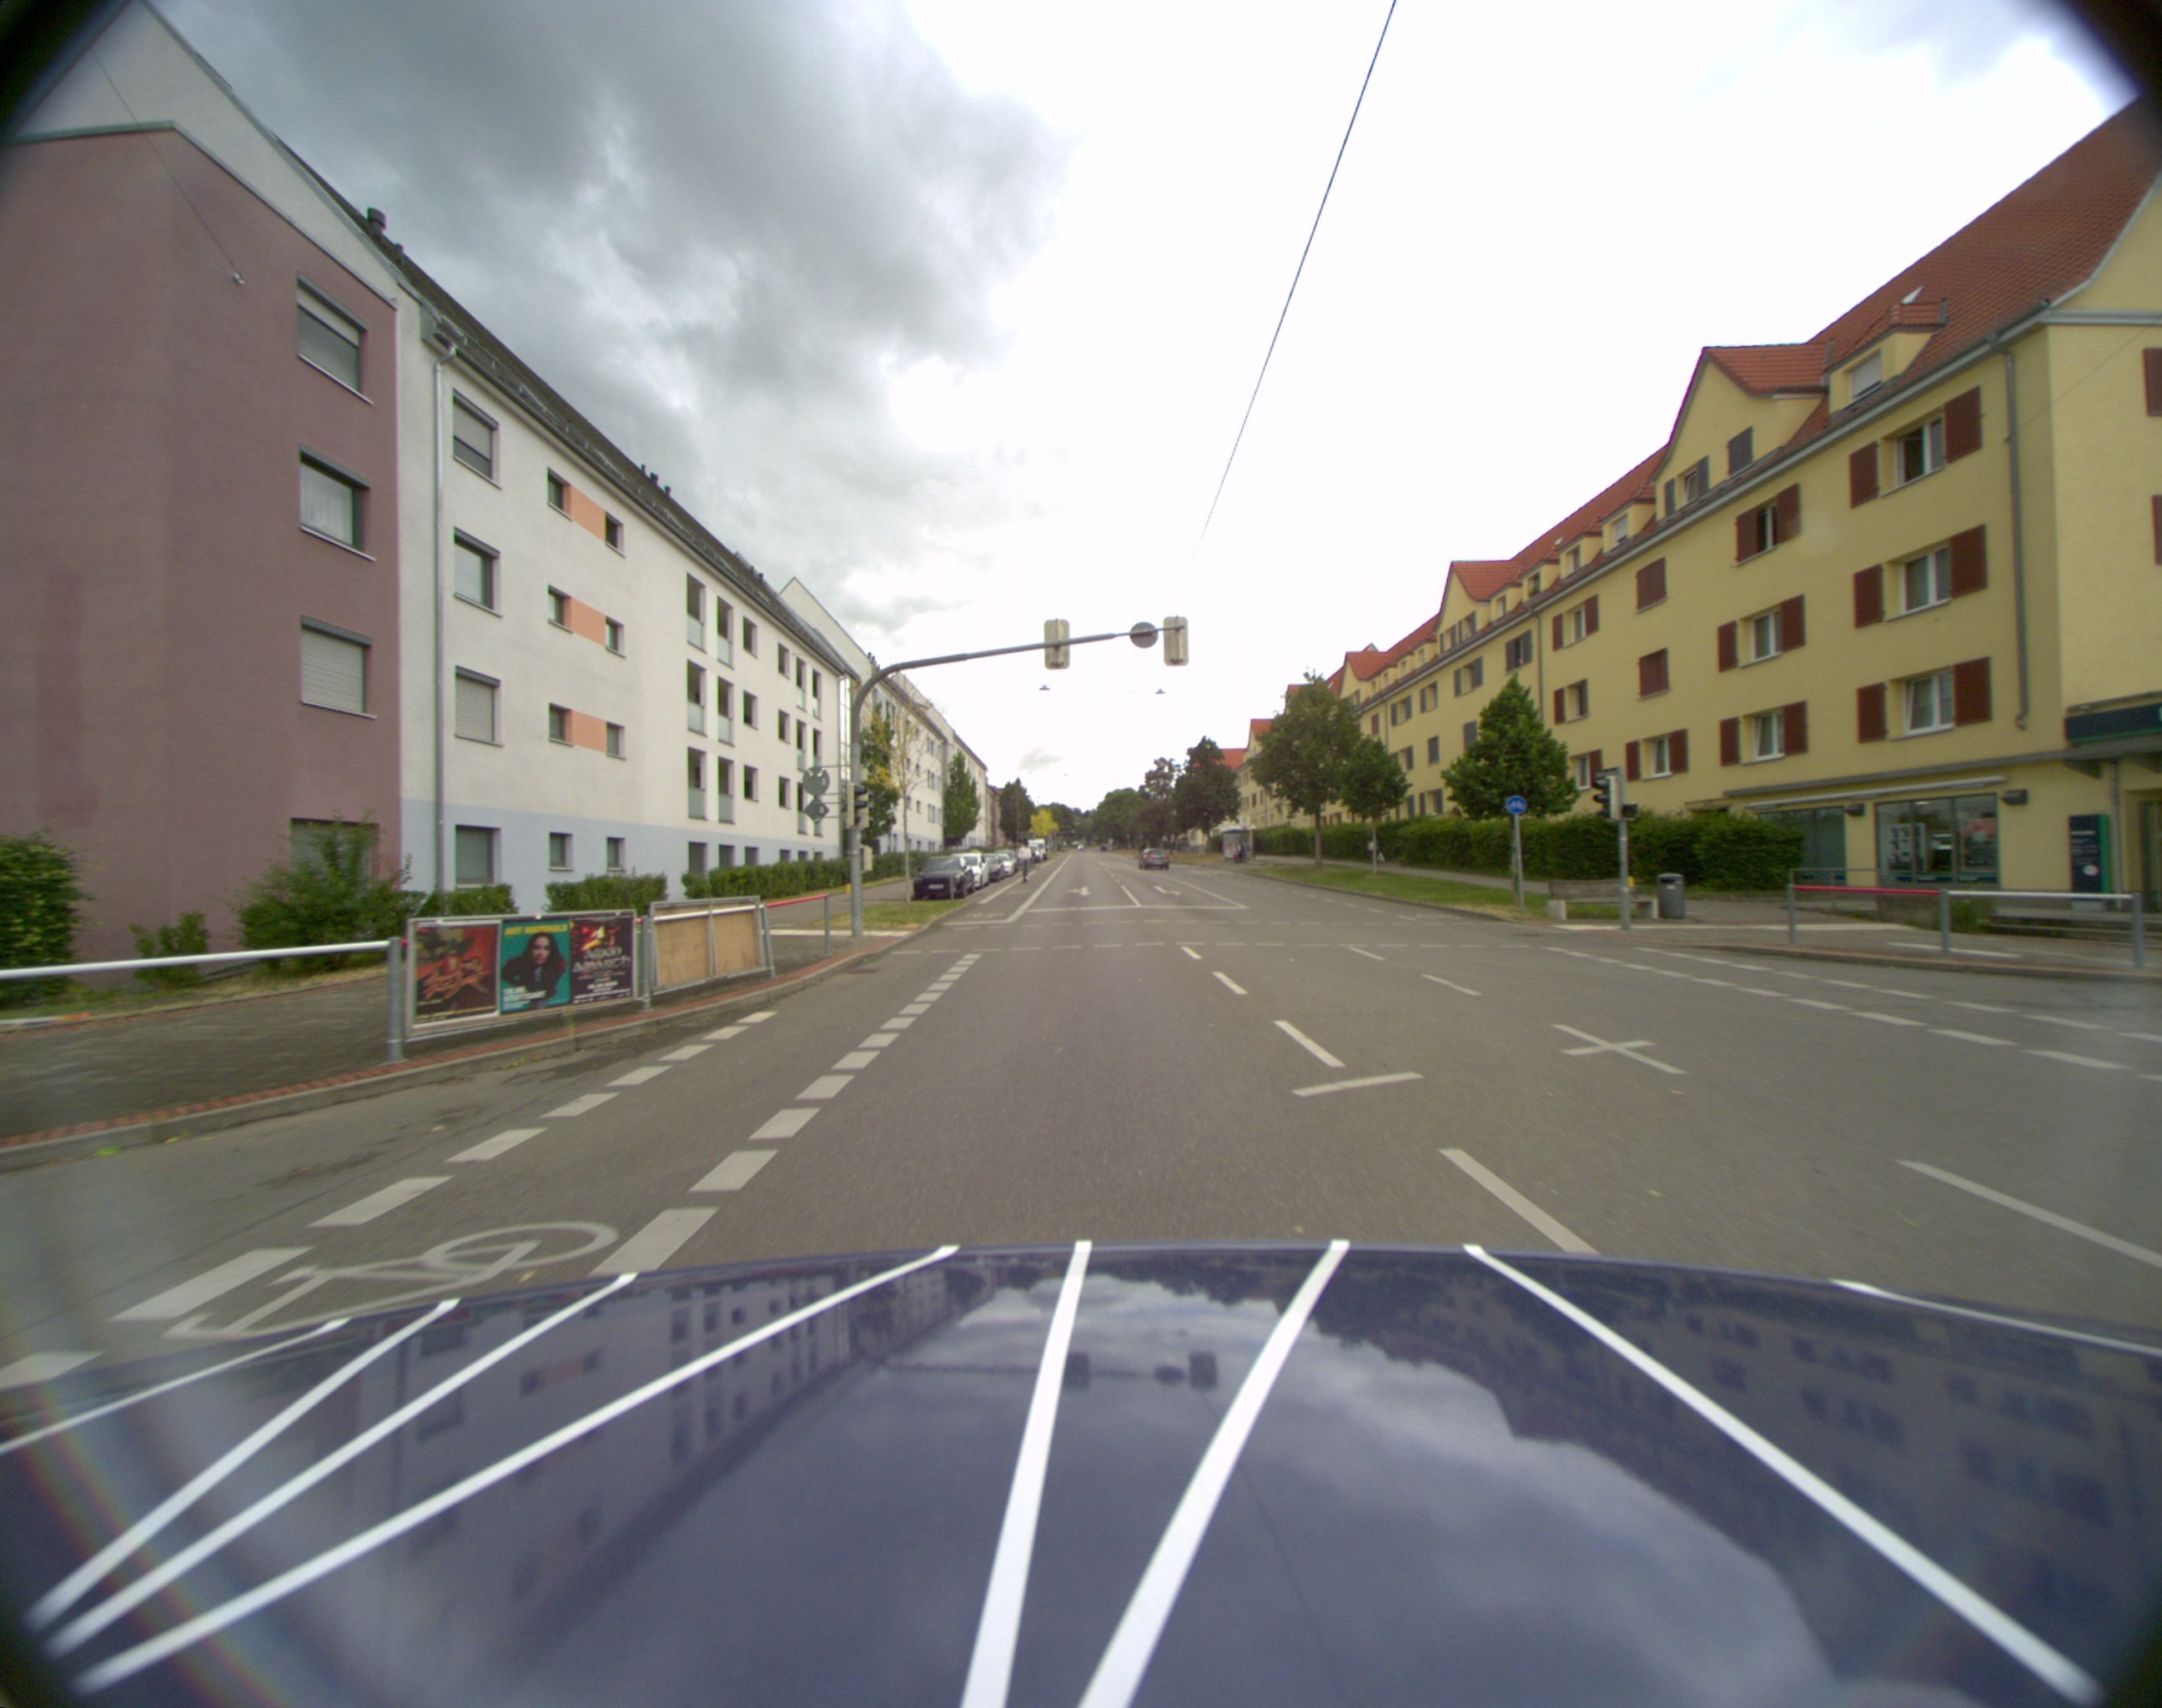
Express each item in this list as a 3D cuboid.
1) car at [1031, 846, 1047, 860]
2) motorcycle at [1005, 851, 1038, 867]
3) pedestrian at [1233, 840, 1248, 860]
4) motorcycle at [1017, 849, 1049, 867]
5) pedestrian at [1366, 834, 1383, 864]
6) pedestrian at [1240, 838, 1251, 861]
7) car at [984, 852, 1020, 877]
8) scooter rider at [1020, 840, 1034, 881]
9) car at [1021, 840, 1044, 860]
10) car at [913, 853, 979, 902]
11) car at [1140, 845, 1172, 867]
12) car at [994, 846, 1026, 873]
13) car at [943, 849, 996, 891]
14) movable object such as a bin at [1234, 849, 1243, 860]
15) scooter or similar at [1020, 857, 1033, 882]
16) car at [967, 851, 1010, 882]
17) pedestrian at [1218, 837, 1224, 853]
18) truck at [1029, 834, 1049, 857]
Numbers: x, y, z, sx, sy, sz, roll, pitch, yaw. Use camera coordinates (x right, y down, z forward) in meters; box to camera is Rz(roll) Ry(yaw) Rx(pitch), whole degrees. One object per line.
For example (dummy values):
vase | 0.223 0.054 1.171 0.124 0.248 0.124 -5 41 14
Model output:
car | -4.567 -0.116 82.976 1.529 1.477 3.726 -3 1 0
motorcycle | -4.907 0.418 62.776 2.605 1.271 0.753 -2 1 -4
pedestrian | 12.438 -0.330 59.302 0.901 1.501 0.806 -3 1 1
motorcycle | -3.909 0.330 61.818 2.605 1.372 0.692 -2 1 -4
pedestrian | 15.864 -0.271 41.045 0.642 1.610 0.618 -2 1 -1
pedestrian | 12.263 -0.336 56.784 0.598 1.717 0.861 -2 1 3
car | -4.817 0.603 47.025 1.734 1.405 4.499 -3 1 -1
scooter rider | -2.686 0.318 37.932 0.627 2.002 0.757 -2 1 -1
car | -4.947 -0.420 77.921 1.999 1.932 5.210 -2 0 0
car | -5.085 0.840 29.257 1.739 1.579 4.571 -3 1 -1
car | 5.344 0.136 54.583 1.761 1.464 4.305 1 0 -1
car | -4.826 0.344 52.302 1.636 1.641 4.355 -3 1 1
car | -4.978 0.672 34.496 1.663 1.706 4.551 -3 1 0
movable object such as a bin | 12.295 0.049 59.324 0.538 0.841 0.665 -3 1 1
scooter or similar | -2.702 0.753 37.897 0.492 1.156 2.074 -2 1 0
car | -4.953 0.639 41.388 1.750 1.459 4.948 -3 1 -1
pedestrian | 15.703 -0.968 85.407 0.515 1.769 0.753 -2 1 0
truck | -4.866 -0.940 88.488 2.058 2.550 5.688 -2 1 -1
